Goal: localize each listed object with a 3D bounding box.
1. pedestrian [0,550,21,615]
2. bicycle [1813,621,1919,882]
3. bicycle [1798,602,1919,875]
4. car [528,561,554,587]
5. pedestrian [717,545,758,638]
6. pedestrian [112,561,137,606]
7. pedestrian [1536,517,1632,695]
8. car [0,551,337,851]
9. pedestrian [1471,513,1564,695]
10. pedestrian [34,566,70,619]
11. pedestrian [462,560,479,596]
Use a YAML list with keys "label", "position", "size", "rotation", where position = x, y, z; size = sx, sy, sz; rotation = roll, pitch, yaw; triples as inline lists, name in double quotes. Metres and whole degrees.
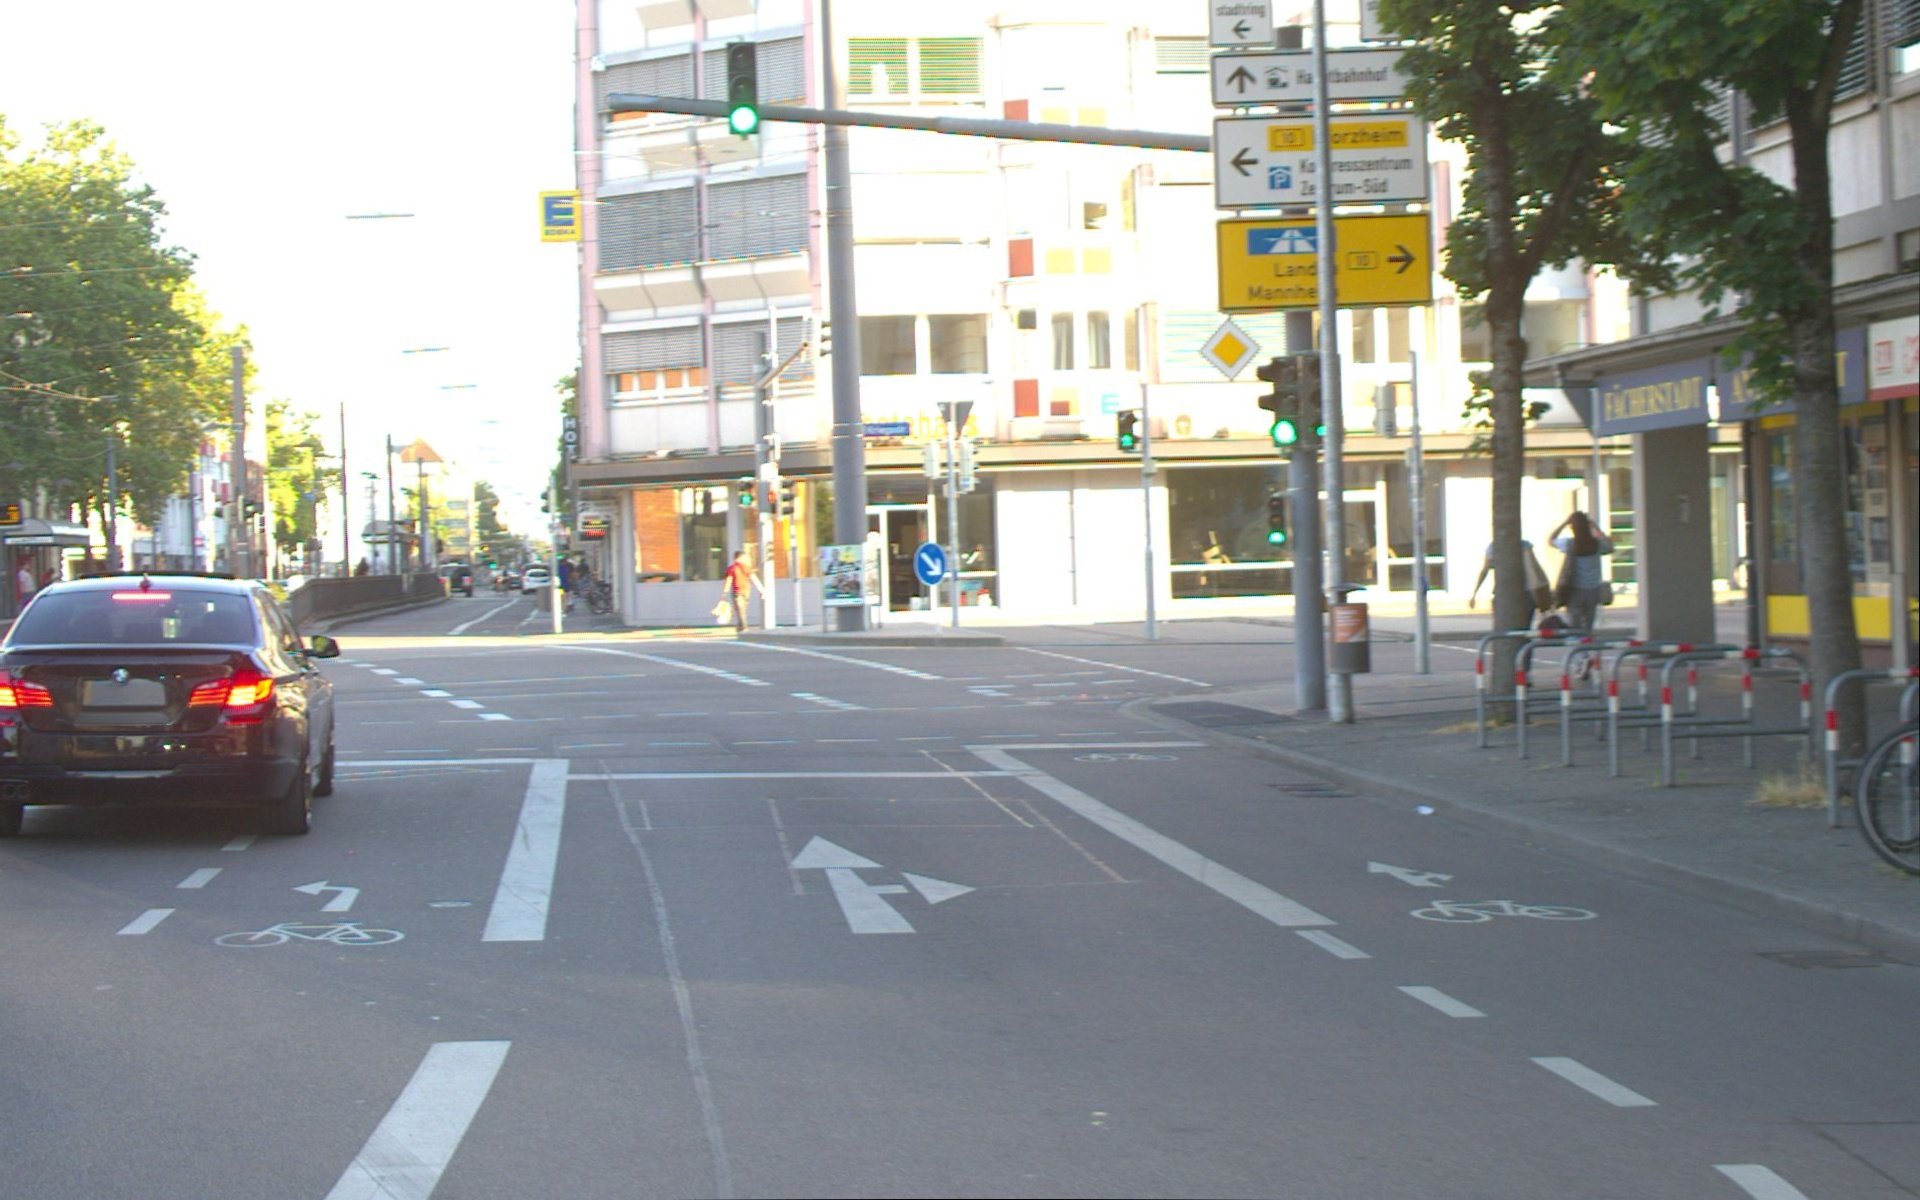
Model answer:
- label: "pedestrian"
  position: [-29.637, -0.551, 106.395]
  size: [0.987, 2.007, 0.726]
  rotation: [0, 0, -8]
- label: "bicycle"
  position: [4.844, 0.639, 15.177]
  size: [1.997, 1.107, 0.668]
  rotation: [-2, 1, 7]
- label: "bicycle"
  position: [4.973, 0.623, 16.149]
  size: [1.904, 1.231, 0.668]
  rotation: [-2, 1, 5]
- label: "car"
  position: [-25.439, -1.557, 208.559]
  size: [1.472, 1.509, 3.096]
  rotation: [-2, 1, -8]
- label: "pedestrian"
  position: [-4.473, -0.176, 69.160]
  size: [0.684, 1.848, 0.671]
  rotation: [-2, 1, -10]
- label: "pedestrian"
  position: [-31.971, -0.646, 131.579]
  size: [0.723, 1.675, 0.991]
  rotation: [-2, 1, -4]
- label: "pedestrian"
  position: [5.933, 0.051, 32.706]
  size: [0.723, 1.661, 0.671]
  rotation: [-2, 1, -3]
- label: "car"
  position: [-4.740, 0.510, 20.232]
  size: [1.993, 1.579, 4.001]
  rotation: [0, 1, -9]
- label: "pedestrian"
  position: [5.211, 0.030, 32.158]
  size: [0.684, 1.661, 0.671]
  rotation: [-2, 1, -3]
- label: "pedestrian"
  position: [-29.495, -0.237, 111.724]
  size: [0.987, 1.675, 0.726]
  rotation: [-2, 1, -8]
- label: "pedestrian"
  position: [-27.752, -1.262, 194.834]
  size: [0.914, 2.007, 0.887]
  rotation: [-2, 1, -8]
